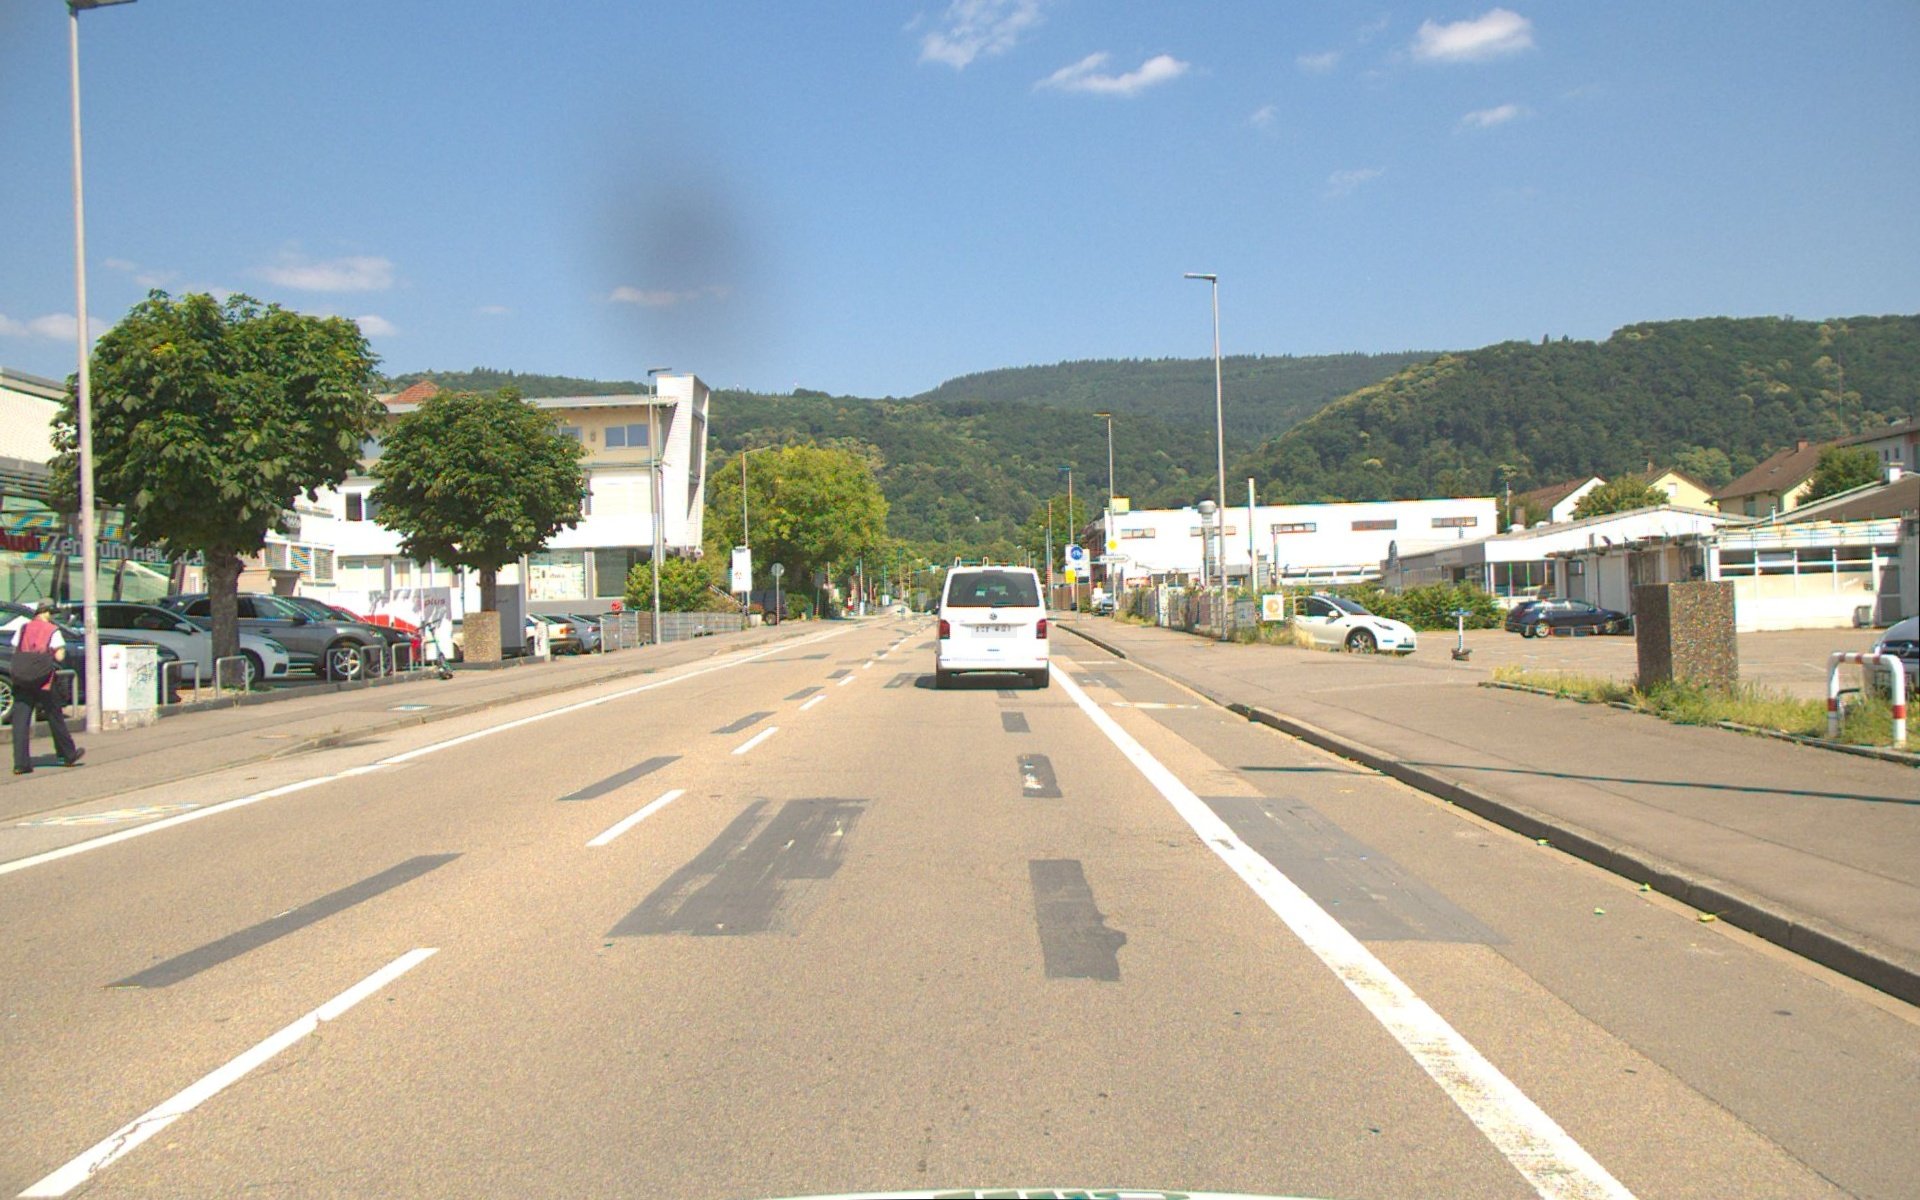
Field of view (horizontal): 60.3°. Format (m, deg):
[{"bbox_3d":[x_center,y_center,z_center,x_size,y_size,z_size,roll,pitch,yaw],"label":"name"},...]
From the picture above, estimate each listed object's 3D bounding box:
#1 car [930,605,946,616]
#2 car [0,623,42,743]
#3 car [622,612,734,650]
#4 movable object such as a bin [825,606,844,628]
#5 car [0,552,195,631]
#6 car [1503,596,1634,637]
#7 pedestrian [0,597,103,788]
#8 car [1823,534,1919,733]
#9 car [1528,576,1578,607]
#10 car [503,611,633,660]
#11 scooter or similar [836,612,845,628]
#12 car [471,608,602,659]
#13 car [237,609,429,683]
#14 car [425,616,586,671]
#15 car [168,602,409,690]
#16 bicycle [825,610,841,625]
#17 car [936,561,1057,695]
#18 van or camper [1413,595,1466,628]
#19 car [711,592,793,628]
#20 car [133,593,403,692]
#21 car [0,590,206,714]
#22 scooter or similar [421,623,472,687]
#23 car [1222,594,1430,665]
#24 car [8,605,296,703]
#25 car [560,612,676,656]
[{"bbox_3d":[-2.912,1.364,218.197,1.952,1.394,4.327,-3,0,1],"label":"car"},{"bbox_3d":[-13.772,0.958,20.349,4.112,1.485,1.884,4,-4,-35],"label":"car"},{"bbox_3d":[-12.569,1.368,73.944,4.643,1.507,2.047,-2,0,-1],"label":"car"},{"bbox_3d":[-9.966,1.347,131.236,1.421,1.618,1.305,-3,0,-8],"label":"movable object such as a bin"},{"bbox_3d":[-20.375,-0.190,39.255,1.951,1.713,4.003,-2,0,13],"label":"car"},{"bbox_3d":[23.188,0.633,63.188,4.238,1.422,2.120,-2,0,4],"label":"car"},{"bbox_3d":[-9.559,0.935,17.167,0.717,1.900,1.047,-2,0,0],"label":"pedestrian"},{"bbox_3d":[9.718,0.206,14.004,3.841,1.621,1.798,-2,0,0],"label":"car"},{"bbox_3d":[32.942,-0.487,91.879,1.956,1.676,3.993,0,1,30],"label":"car"},{"bbox_3d":[-13.213,1.206,55.943,3.906,1.469,1.858,2,-3,-2],"label":"car"},{"bbox_3d":[-9.035,1.525,125.416,0.634,1.147,1.621,1,-1,-6],"label":"scooter or similar"},{"bbox_3d":[-13.654,1.106,53.506,3.817,1.470,1.820,2,-3,-8],"label":"car"},{"bbox_3d":[-14.611,1.037,38.562,3.946,1.577,1.840,-1,0,-31],"label":"car"},{"bbox_3d":[-14.010,1.339,51.153,4.432,1.483,1.900,-2,0,-2],"label":"car"},{"bbox_3d":[-14.111,0.936,34.846,4.429,1.738,1.887,0,-1,-35],"label":"car"},{"bbox_3d":[-9.341,1.281,121.750,1.006,1.137,2.764,1,-1,-2],"label":"bicycle"},{"bbox_3d":[0.541,0.458,28.468,1.895,2.096,4.543,1,0,-1],"label":"car"},{"bbox_3d":[26.834,0.666,92.474,1.955,1.570,4.224,-7,-4,27],"label":"van or camper"},{"bbox_3d":[-11.764,0.572,93.762,4.476,1.898,2.091,-1,0,-5],"label":"car"},{"bbox_3d":[-13.315,0.772,31.936,4.527,1.726,1.836,-1,0,-35],"label":"car"},{"bbox_3d":[-13.590,0.730,24.117,4.430,1.636,1.942,2,2,-35],"label":"car"},{"bbox_3d":[-10.621,1.130,34.239,0.729,1.269,1.488,-1,0,-7],"label":"scooter or similar"},{"bbox_3d":[9.459,0.793,42.958,4.960,1.650,2.010,-1,-5,43],"label":"car"},{"bbox_3d":[-13.575,0.877,27.869,4.154,1.521,1.851,0,-2,-35],"label":"car"},{"bbox_3d":[-13.600,1.338,65.911,4.211,1.586,1.994,-2,0,-3],"label":"car"}]
